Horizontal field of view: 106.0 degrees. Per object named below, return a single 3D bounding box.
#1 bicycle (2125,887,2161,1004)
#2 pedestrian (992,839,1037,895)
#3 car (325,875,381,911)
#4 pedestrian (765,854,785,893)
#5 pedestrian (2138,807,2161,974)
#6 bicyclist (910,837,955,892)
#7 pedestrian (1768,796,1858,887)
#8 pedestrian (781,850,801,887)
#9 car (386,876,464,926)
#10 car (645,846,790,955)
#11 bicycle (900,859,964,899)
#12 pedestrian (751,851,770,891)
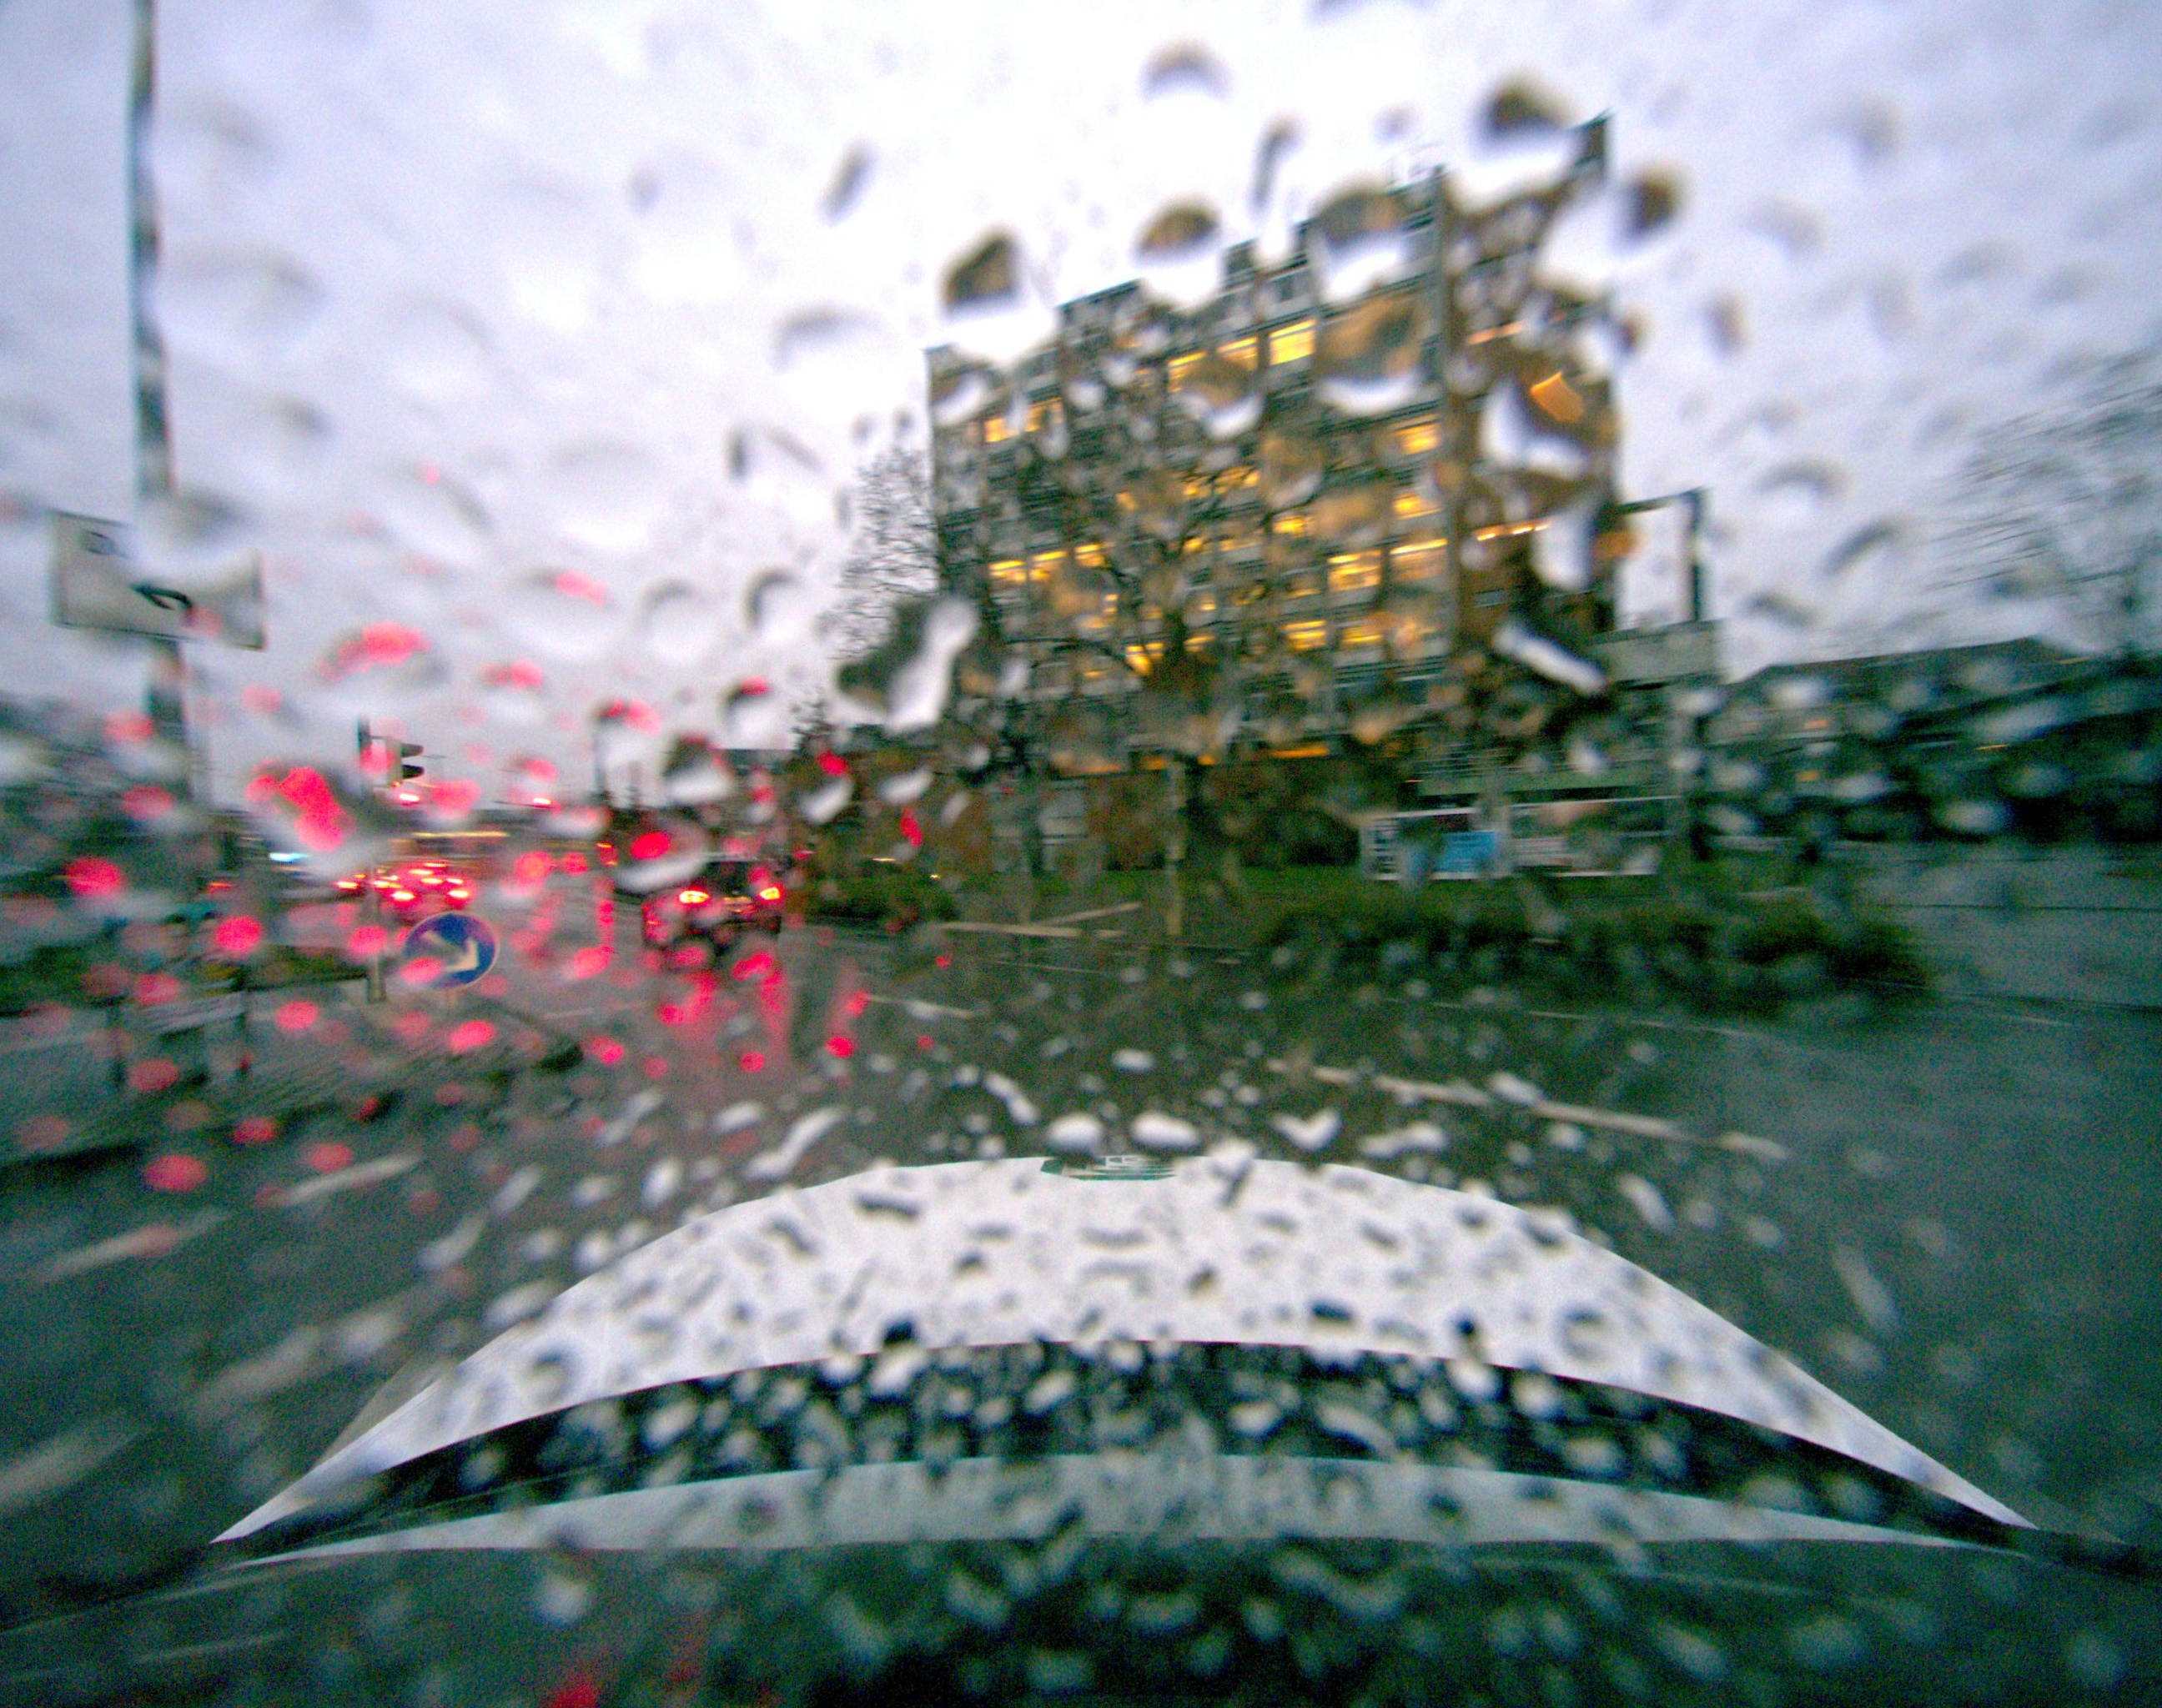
[{"bbox_3d":[8.977,0.797,6.091,0.556,0.946,2.108,-2,1,26],"label":"bicycle"},{"bbox_3d":[-2.069,0.406,25.432,0.815,1.687,1.057,-5,2,-43],"label":"pedestrian"},{"bbox_3d":[-39.315,2.070,44.061,1.900,1.772,3.954,-2,0,-38],"label":"car"},{"bbox_3d":[-14.144,0.891,37.672,0.668,1.687,0.609,-4,3,-12],"label":"pedestrian"},{"bbox_3d":[8.805,0.284,6.039,0.866,1.316,0.853,-3,1,26],"label":"pedestrian"},{"bbox_3d":[-4.624,0.319,25.373,0.811,1.617,1.072,-7,4,-43],"label":"bicyclist"},{"bbox_3d":[14.118,-0.253,15.741,0.921,1.687,0.913,-2,3,1],"label":"pedestrian"},{"bbox_3d":[-13.587,0.654,38.224,0.719,1.687,0.757,-3,1,-13],"label":"pedestrian"},{"bbox_3d":[-21.729,1.483,26.936,1.715,1.482,3.824,1,-1,-43],"label":"car"},{"bbox_3d":[-7.237,0.784,15.950,1.791,1.800,4.377,-2,1,-35],"label":"car"},{"bbox_3d":[-4.665,0.766,25.451,0.811,1.141,2.186,-7,4,-43],"label":"bicycle"},{"bbox_3d":[-14.740,0.759,37.508,0.584,1.781,0.766,-4,1,-12],"label":"pedestrian"}]
